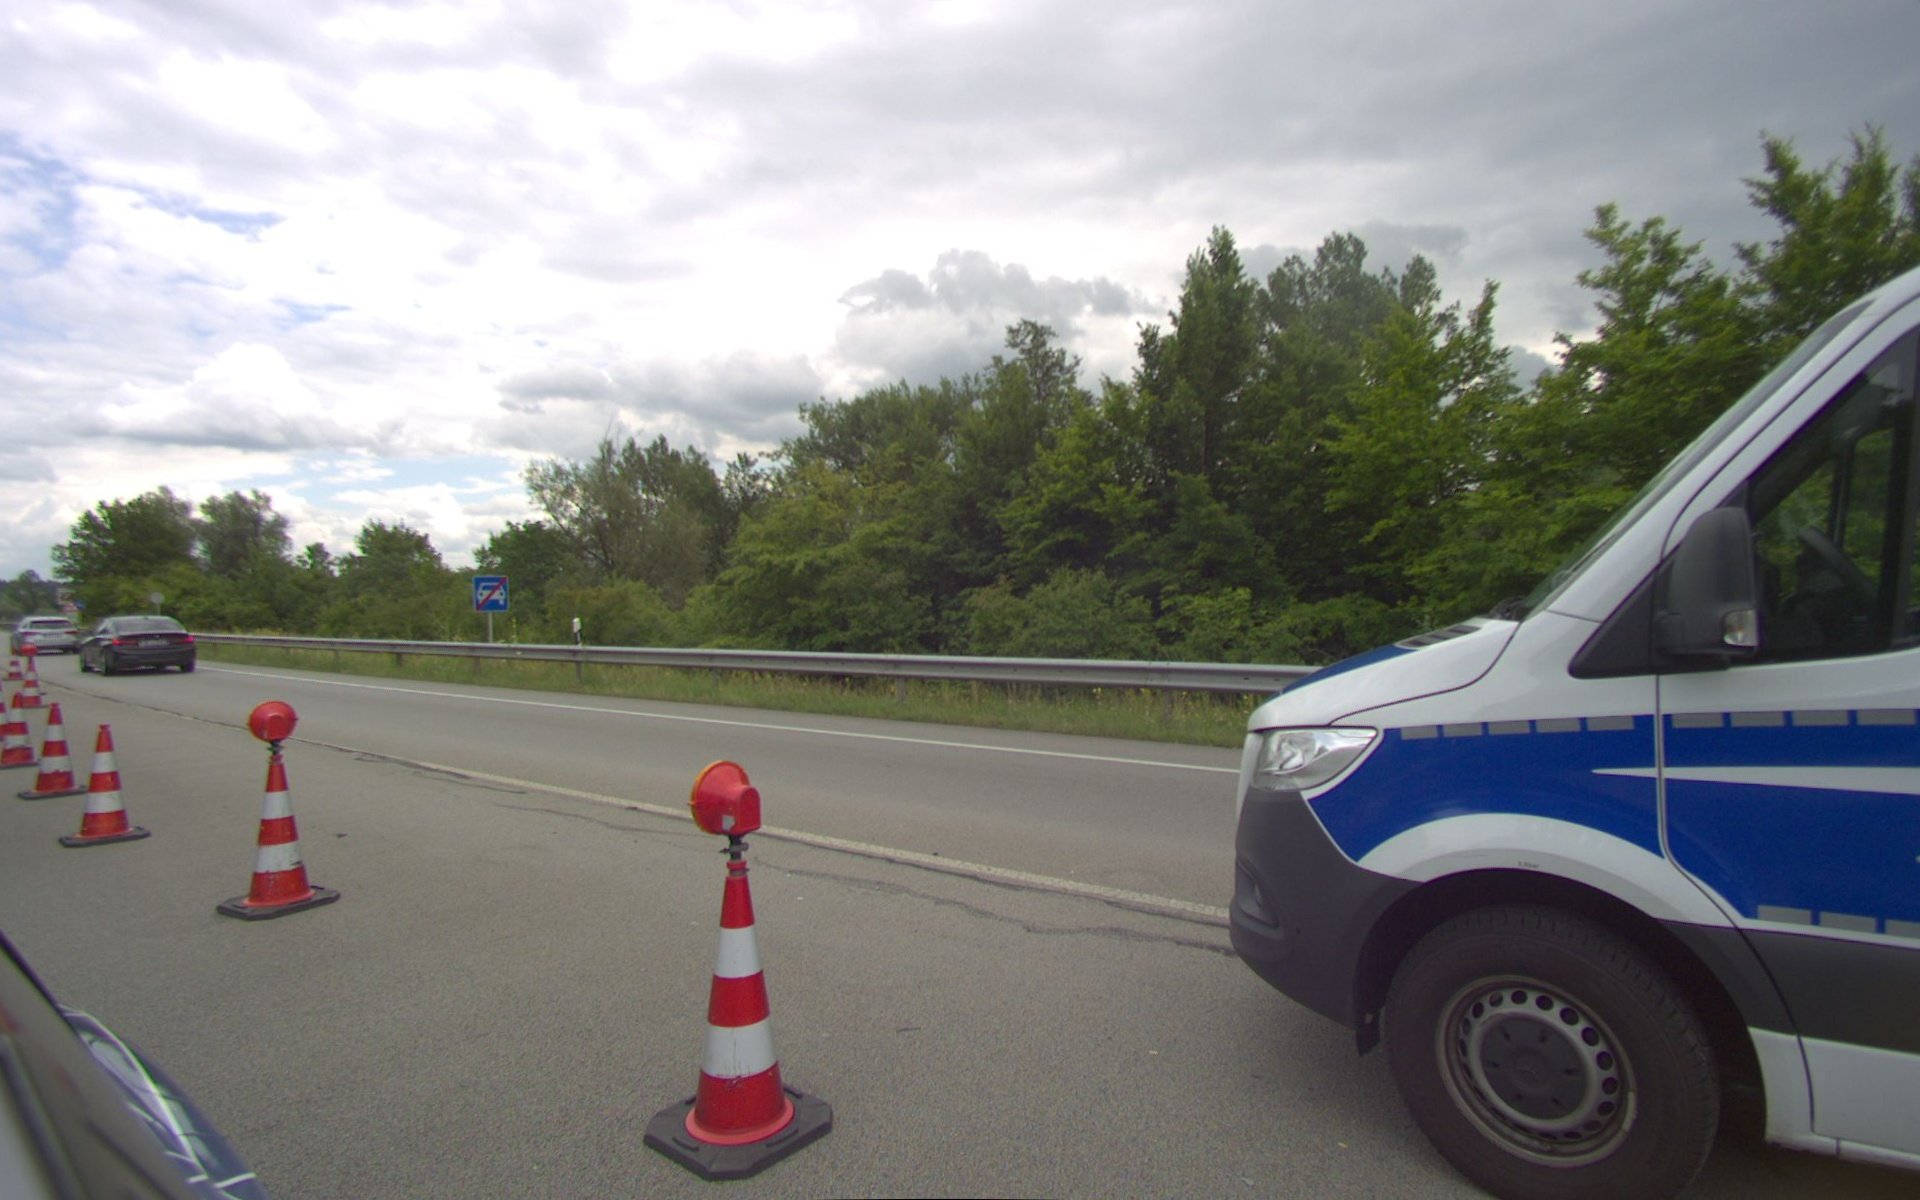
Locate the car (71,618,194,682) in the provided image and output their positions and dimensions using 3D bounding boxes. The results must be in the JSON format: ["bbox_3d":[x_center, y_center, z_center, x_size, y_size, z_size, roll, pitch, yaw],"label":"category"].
[{"bbox_3d":[-21.061,1.213,25.695,4.334,1.447,1.691,-1,-1,41],"label":"car"}]

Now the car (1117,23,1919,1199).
[{"bbox_3d":[3.155,0.138,2.125,5.272,2.482,2.010,-1,-1,38],"label":"car"}]

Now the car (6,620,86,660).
[{"bbox_3d":[-34.826,1.479,38.526,4.370,1.412,1.662,-1,-1,39],"label":"car"}]
